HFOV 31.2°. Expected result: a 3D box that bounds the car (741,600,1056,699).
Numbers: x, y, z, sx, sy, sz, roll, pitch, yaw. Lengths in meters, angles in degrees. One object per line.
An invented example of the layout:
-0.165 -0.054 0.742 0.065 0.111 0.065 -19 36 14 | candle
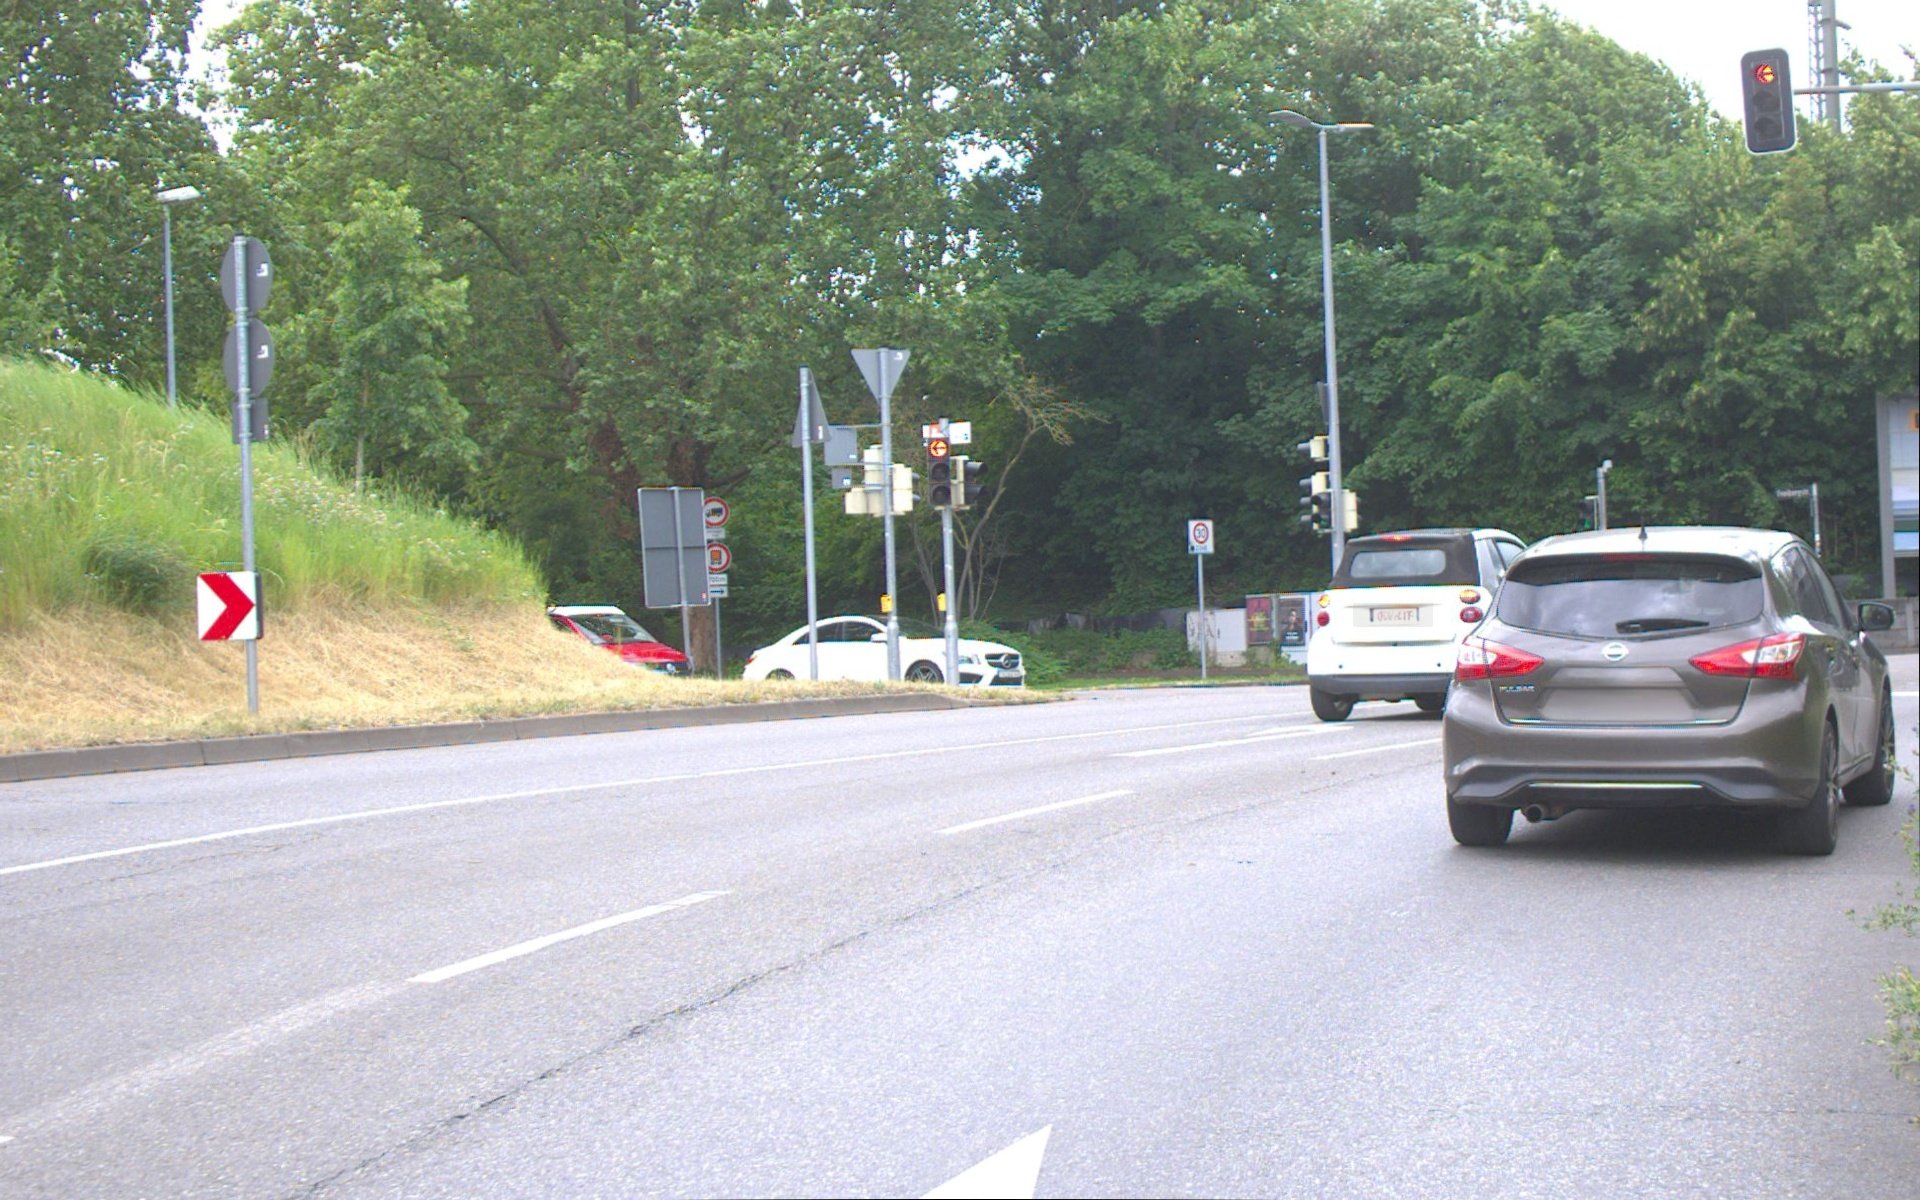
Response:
-0.955 0.773 51.843 4.414 1.334 1.996 -3 -3 35 | car

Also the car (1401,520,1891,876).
3.544 0.379 17.192 1.846 1.487 3.997 0 2 20 | car

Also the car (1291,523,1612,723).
4.125 0.148 28.573 1.578 1.552 3.011 0 1 31 | car

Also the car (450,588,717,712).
-6.129 0.824 55.775 4.033 1.807 1.851 -4 -2 36 | car
